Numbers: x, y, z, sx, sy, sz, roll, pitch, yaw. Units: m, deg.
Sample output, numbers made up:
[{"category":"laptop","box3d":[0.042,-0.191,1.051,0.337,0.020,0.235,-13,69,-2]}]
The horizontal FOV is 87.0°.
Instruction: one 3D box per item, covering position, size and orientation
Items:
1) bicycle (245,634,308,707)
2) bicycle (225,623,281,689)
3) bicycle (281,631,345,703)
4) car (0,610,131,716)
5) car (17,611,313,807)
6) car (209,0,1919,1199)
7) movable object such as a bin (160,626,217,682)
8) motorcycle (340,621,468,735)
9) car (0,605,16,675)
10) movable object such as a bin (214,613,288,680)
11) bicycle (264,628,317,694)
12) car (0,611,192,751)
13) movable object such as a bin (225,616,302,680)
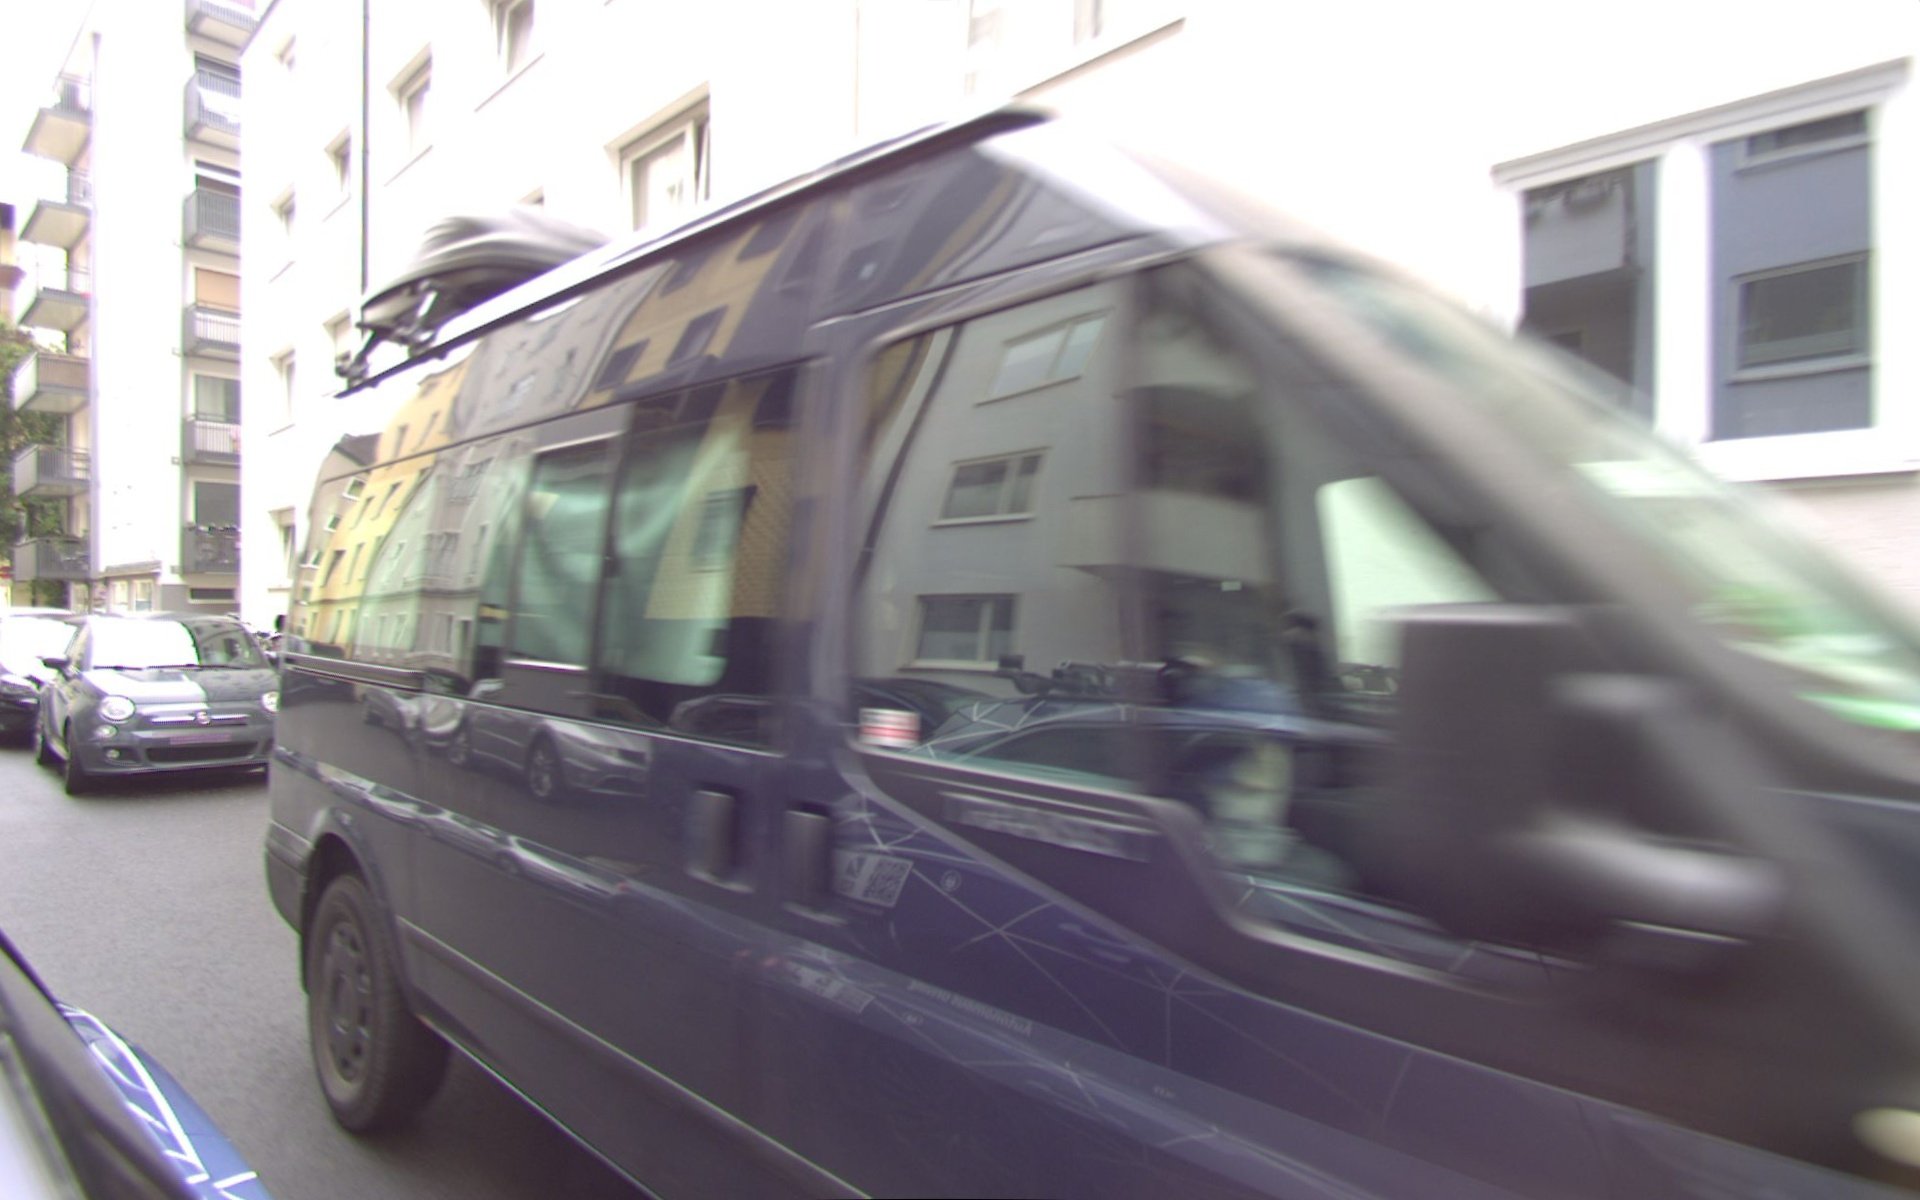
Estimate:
[{"category":"bicycle","box3d":[-10.383,1.050,15.360,1.623,1.024,0.383,0,-2,42]},{"category":"bicycle","box3d":[-12.984,1.014,18.566,1.681,1.147,0.338,0,-1,37]},{"category":"bicycle","box3d":[-9.890,0.999,15.445,1.574,1.024,0.394,0,-2,42]},{"category":"car","box3d":[-14.771,0.896,15.954,4.806,1.448,1.892,0,-1,41]},{"category":"car","box3d":[-7.566,0.872,9.502,3.743,1.457,1.594,0,-3,43]},{"category":"car","box3d":[-0.048,0.349,2.552,5.391,2.296,1.996,0,-2,43]},{"category":"movable object such as a bin","box3d":[-15.616,1.077,20.494,0.634,1.084,0.761,0,-1,36]},{"category":"motorcycle","box3d":[-6.480,0.861,11.765,1.855,1.212,0.593,0,0,37]},{"category":"car","box3d":[-24.588,0.939,24.615,4.538,1.619,1.946,0,-1,41]},{"category":"movable object such as a bin","box3d":[-15.254,0.973,21.775,1.104,1.364,1.099,0,-1,42]},{"category":"bicycle","box3d":[-10.984,0.976,16.589,1.441,1.024,0.375,-1,-2,43]},{"category":"car","box3d":[-11.102,0.866,12.411,4.223,1.427,1.783,0,-1,40]},{"category":"movable object such as a bin","box3d":[-14.452,0.973,20.997,1.097,1.272,1.108,0,-1,42]}]
